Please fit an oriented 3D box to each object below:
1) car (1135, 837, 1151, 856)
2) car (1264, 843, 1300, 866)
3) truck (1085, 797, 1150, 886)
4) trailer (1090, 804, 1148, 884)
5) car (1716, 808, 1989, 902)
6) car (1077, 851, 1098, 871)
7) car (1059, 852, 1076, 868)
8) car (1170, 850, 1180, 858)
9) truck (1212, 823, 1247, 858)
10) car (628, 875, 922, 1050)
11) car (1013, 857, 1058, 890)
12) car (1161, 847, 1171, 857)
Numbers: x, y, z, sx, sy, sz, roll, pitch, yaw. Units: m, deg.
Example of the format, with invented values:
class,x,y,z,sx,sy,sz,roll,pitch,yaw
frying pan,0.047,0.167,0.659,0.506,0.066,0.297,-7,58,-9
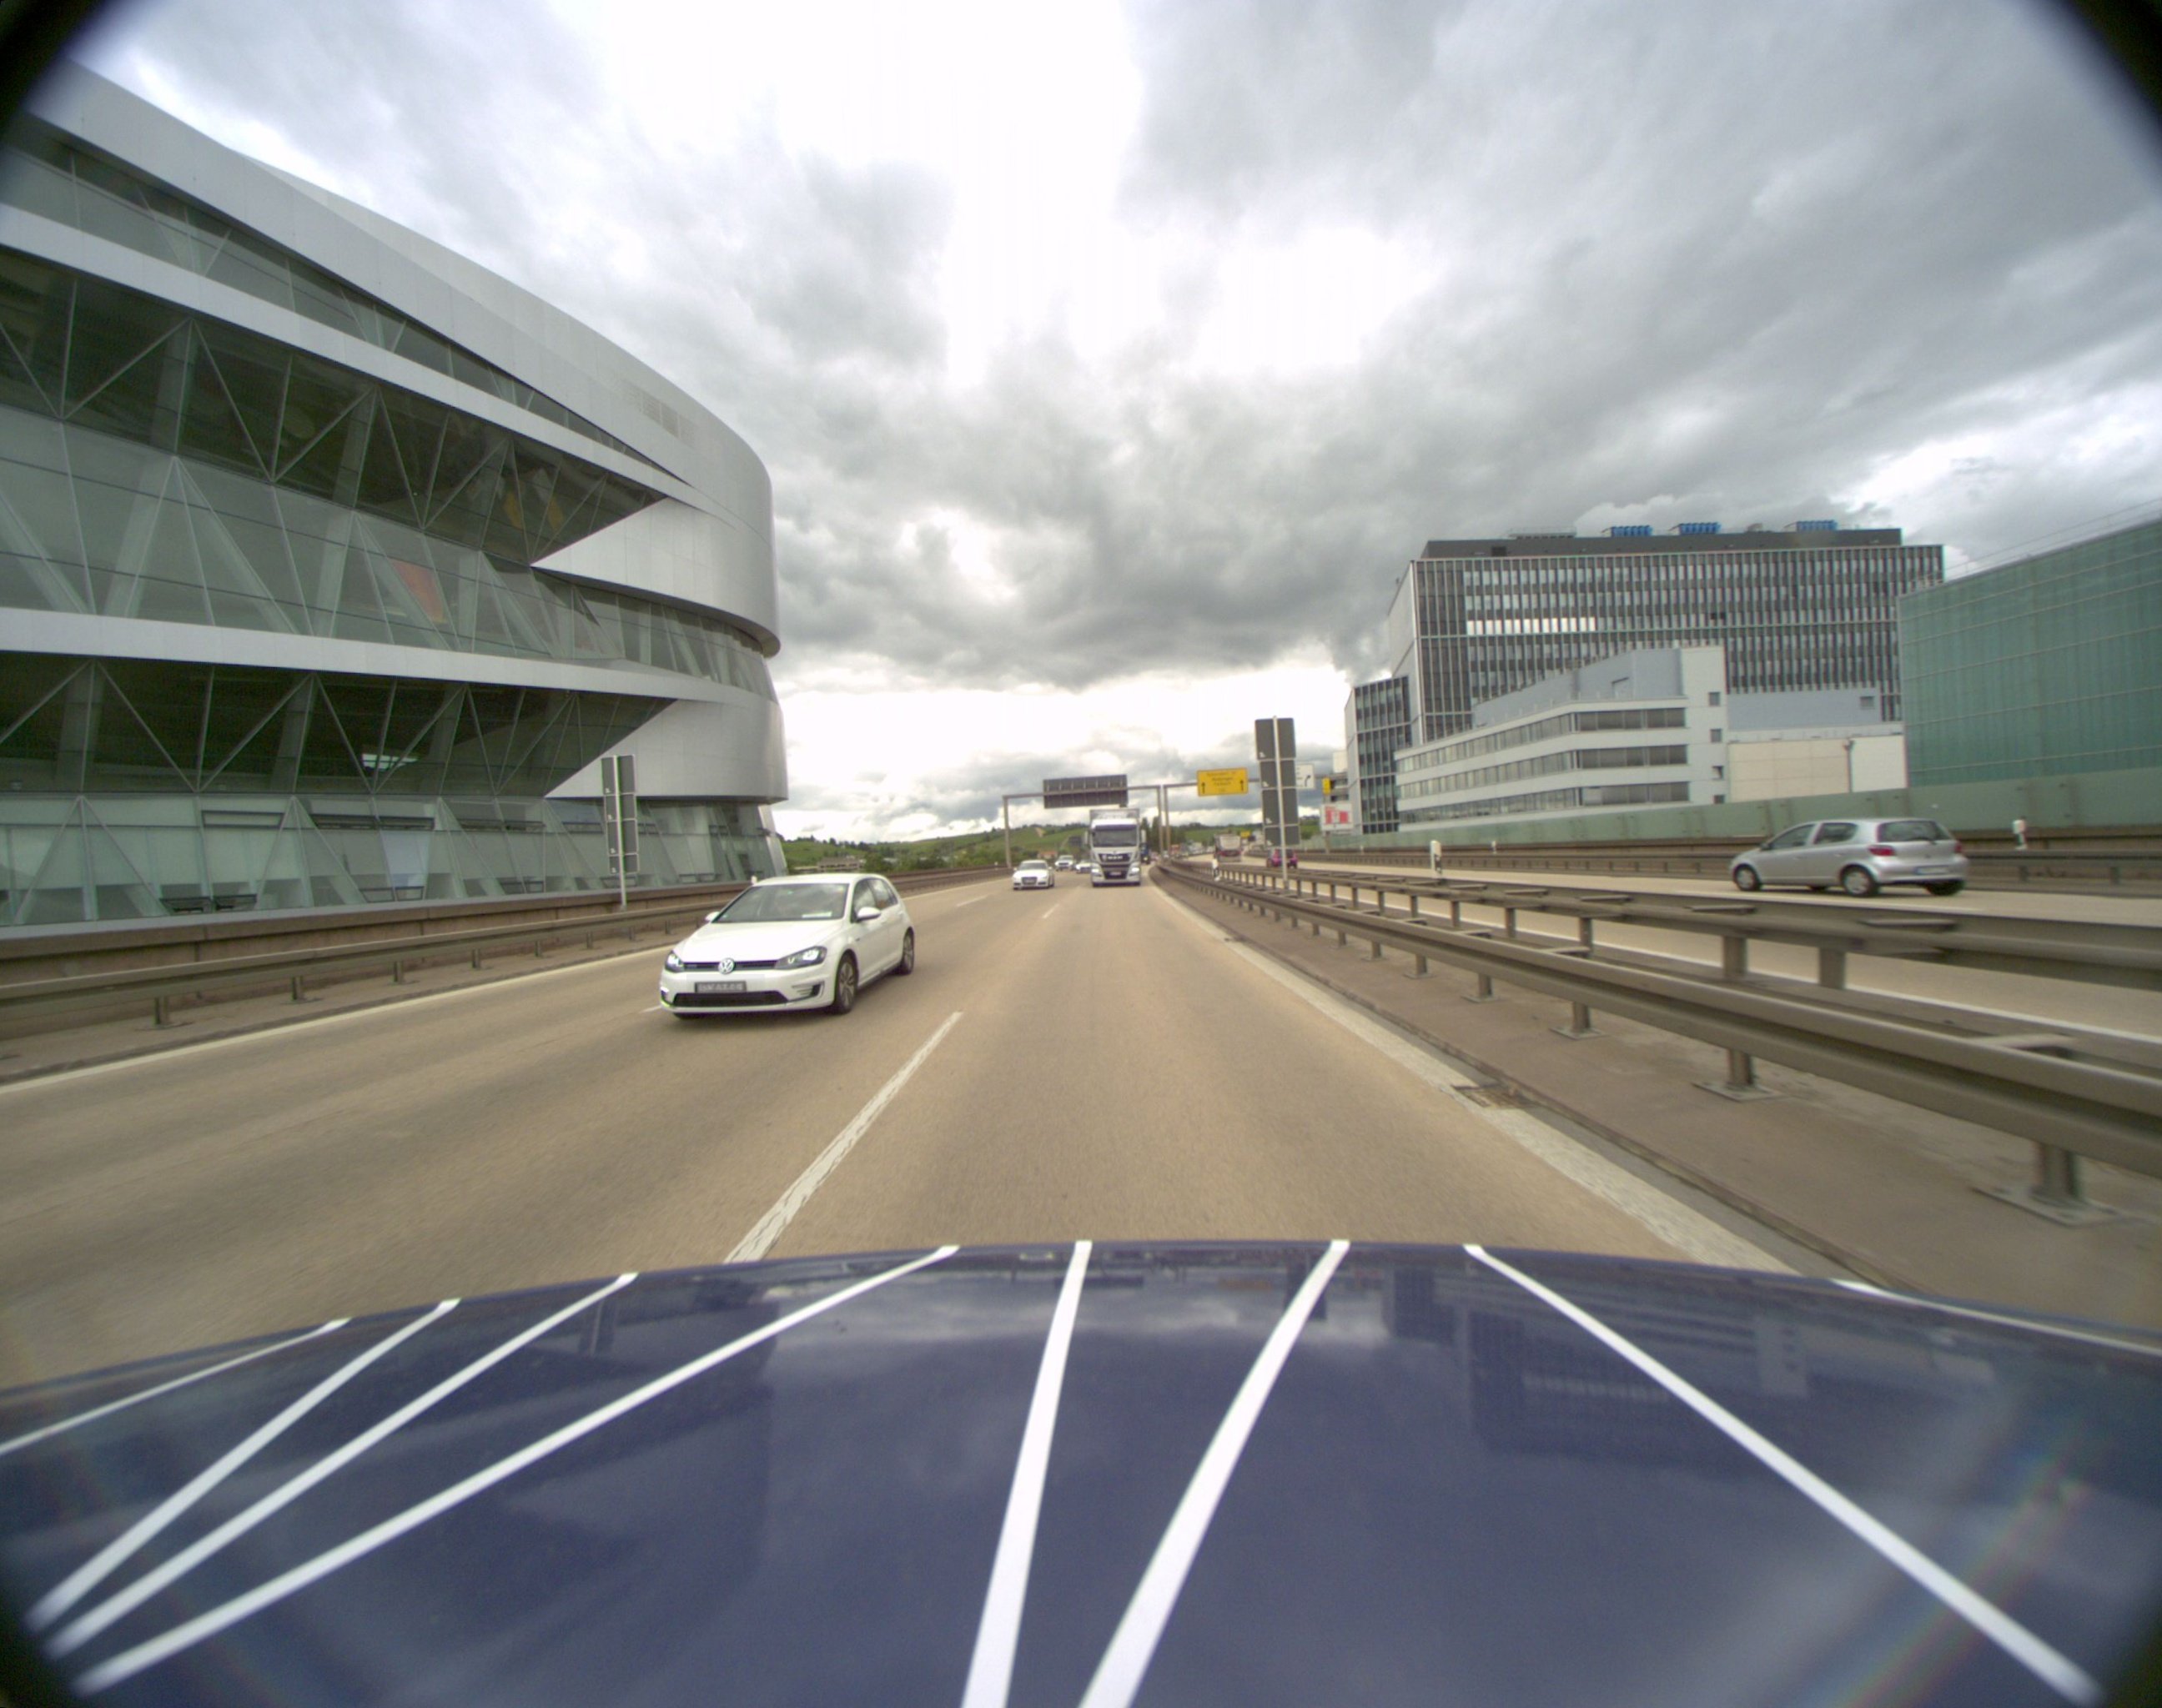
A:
class,x,y,z,sx,sy,sz,roll,pitch,yaw
car,8.626,-1.014,105.800,2.143,2.494,4.525,-2,1,4
car,13.792,-0.005,52.326,1.758,1.474,4.092,-2,0,5
truck,1.928,-0.618,39.447,2.945,4.136,6.292,-2,1,4
trailer,2.352,-0.585,45.737,2.879,4.104,11.222,-2,1,4
car,14.986,0.013,15.084,1.687,1.588,3.685,-2,0,1
car,0.534,0.616,68.985,1.765,1.624,3.627,-2,1,-1
car,-1.430,0.610,81.587,1.785,1.624,3.627,-2,1,-1
car,23.467,-0.036,189.621,1.997,2.002,4.003,-2,1,12
truck,17.943,-1.588,92.533,3.268,3.836,13.058,-3,0,8
car,-3.248,1.058,9.040,1.759,1.443,4.072,-2,0,1
car,-2.246,0.945,38.328,1.848,1.443,3.933,-2,0,2
car,18.200,-0.339,162.408,1.998,2.002,4.001,-2,1,6
